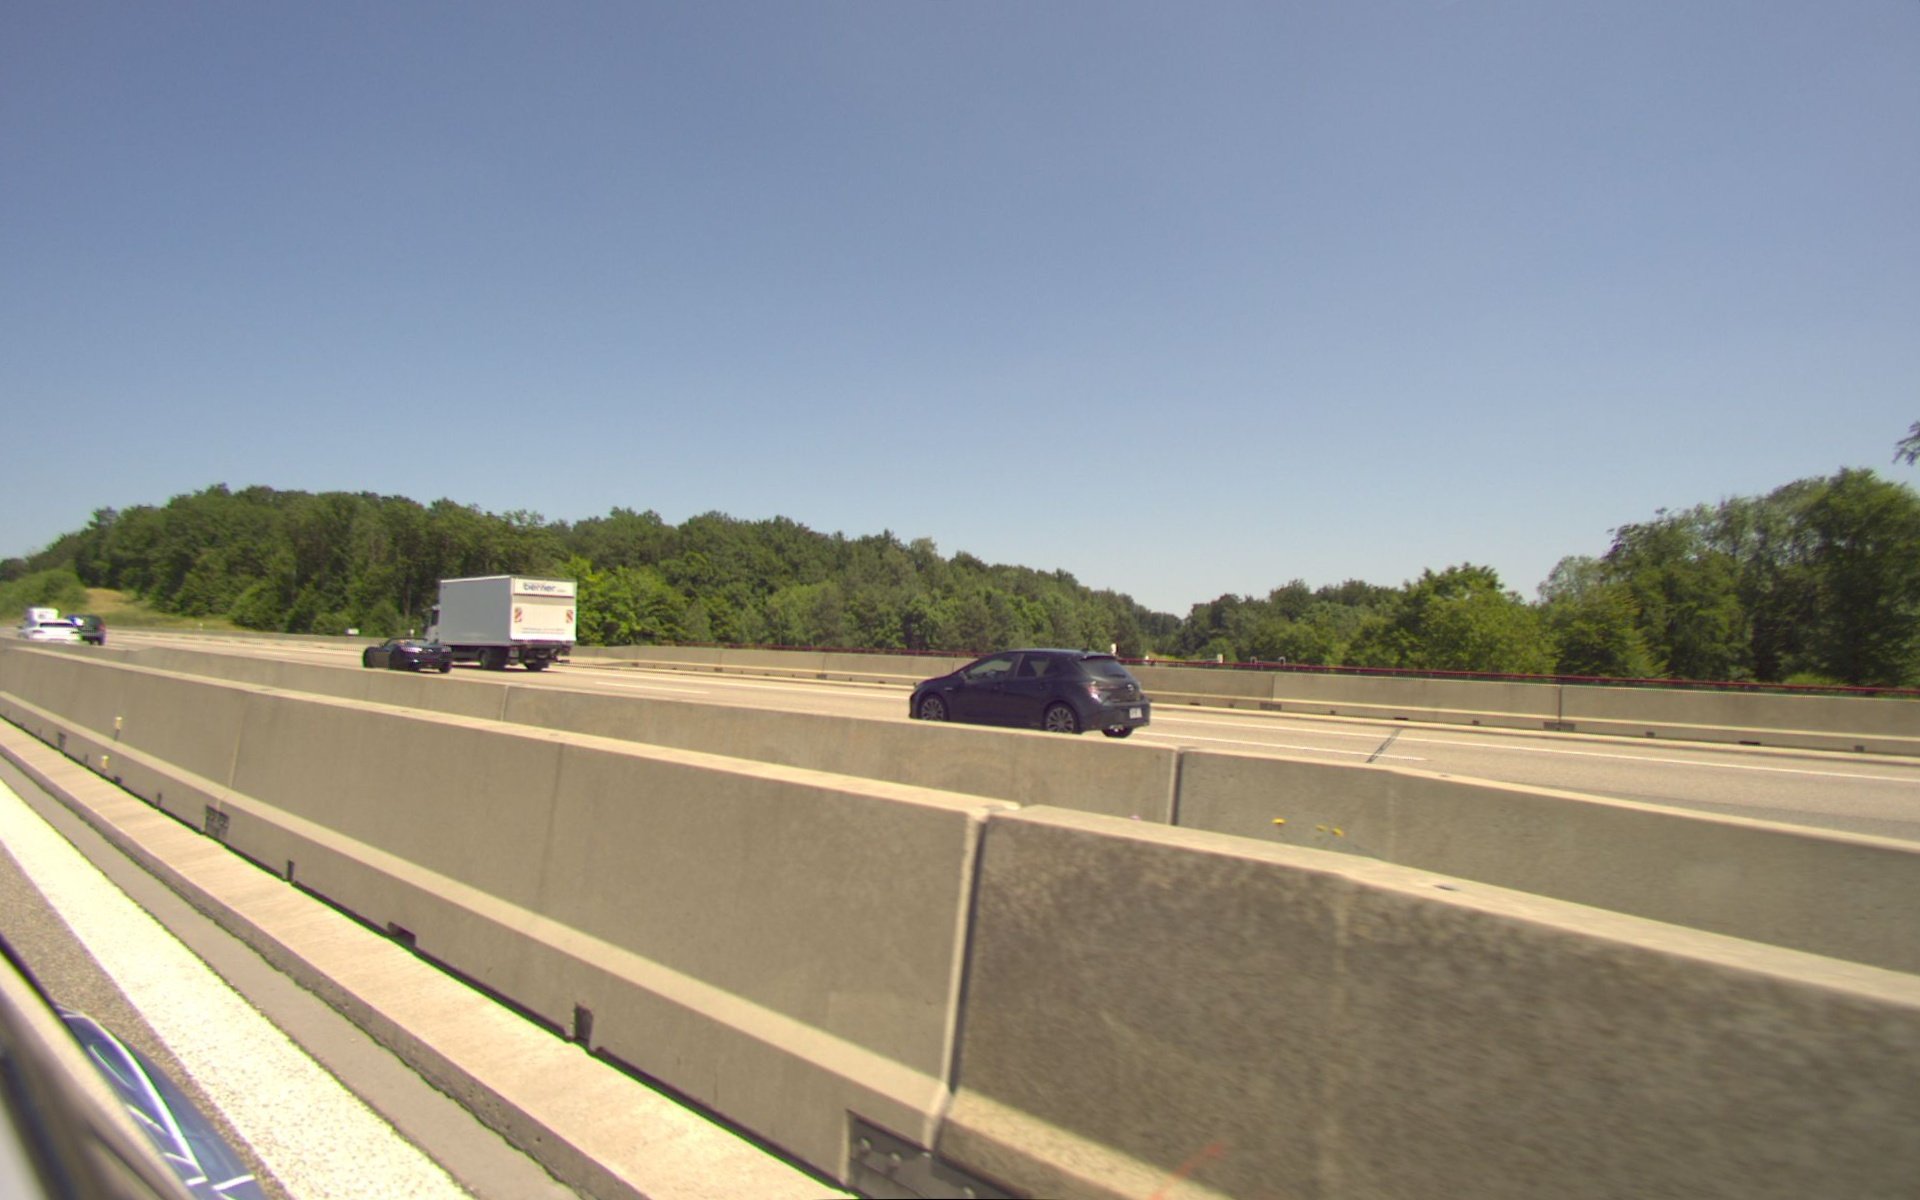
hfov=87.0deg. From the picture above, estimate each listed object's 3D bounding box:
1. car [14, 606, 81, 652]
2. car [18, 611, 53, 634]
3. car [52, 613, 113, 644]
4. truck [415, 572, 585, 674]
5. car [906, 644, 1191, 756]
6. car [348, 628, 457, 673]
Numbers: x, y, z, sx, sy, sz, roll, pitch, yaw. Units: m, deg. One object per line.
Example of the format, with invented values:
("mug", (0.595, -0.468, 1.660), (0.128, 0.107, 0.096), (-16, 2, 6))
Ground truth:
("car", (-40.571, 1.294, 44.970), (5.210, 1.894, 1.755), (-2, -1, 43))
("car", (-113.252, 2.737, 123.937), (8.172, 2.679, 2.198), (-1, -4, 41))
("car", (-50.916, 1.645, 58.664), (4.922, 1.748, 1.973), (-1, -2, 41))
("truck", (-18.072, 0.922, 39.436), (8.571, 3.598, 2.513), (-1, -4, 41))
("car", (1.333, 1.524, 16.443), (4.395, 1.492, 1.779), (-1, -4, 41))
("car", (-18.975, 1.677, 34.360), (4.529, 1.386, 1.779), (-1, -2, 41))
